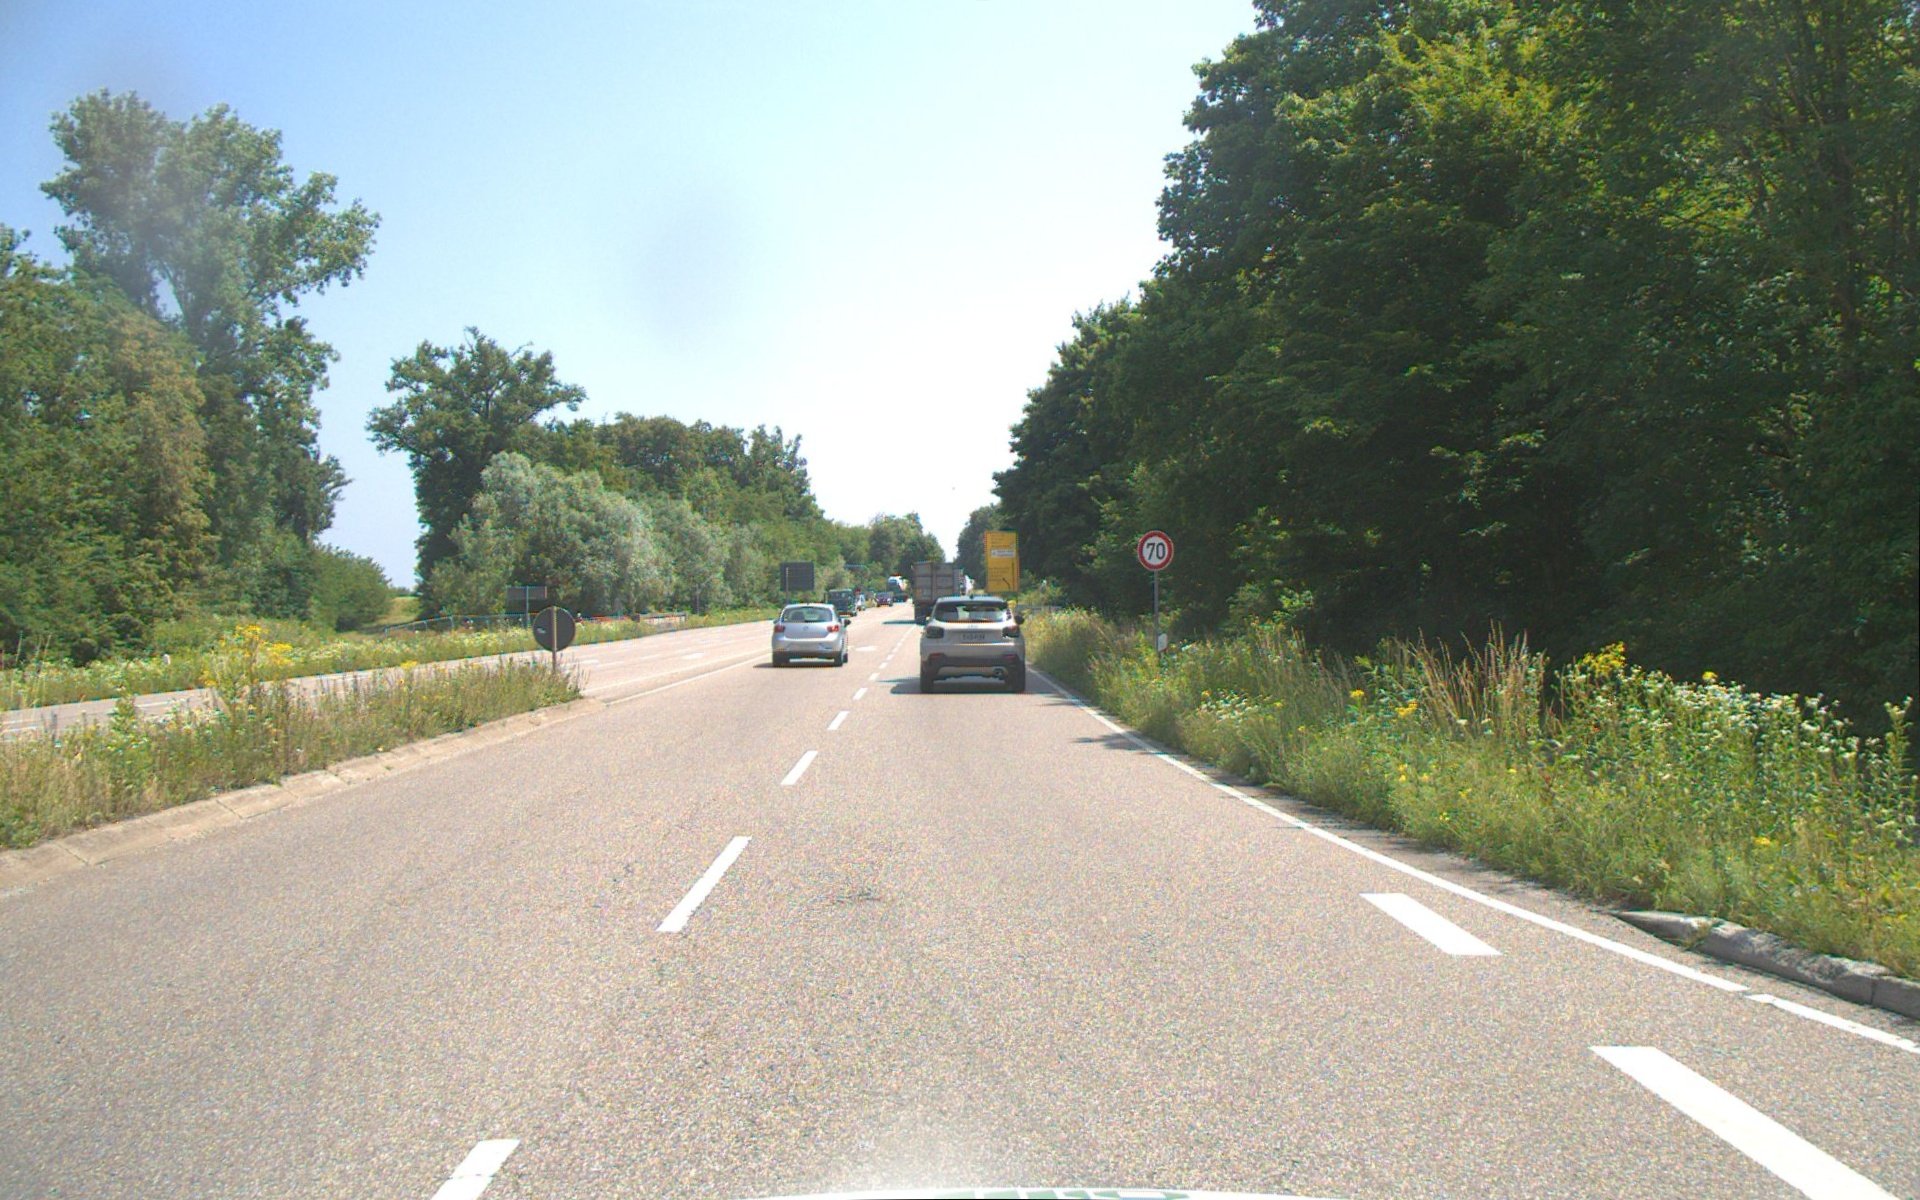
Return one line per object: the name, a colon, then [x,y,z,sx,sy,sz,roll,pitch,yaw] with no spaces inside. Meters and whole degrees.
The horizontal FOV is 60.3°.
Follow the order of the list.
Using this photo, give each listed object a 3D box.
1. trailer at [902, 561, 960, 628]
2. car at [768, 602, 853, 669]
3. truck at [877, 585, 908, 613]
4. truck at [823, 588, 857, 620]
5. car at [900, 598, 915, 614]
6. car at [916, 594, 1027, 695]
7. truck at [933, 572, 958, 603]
trailer: [-1.773,-0.334,106.863,3.313,4.058,10.805,0,0,1]
car: [-3.486,0.804,39.154,1.631,1.455,3.828,0,0,1]
truck: [-10.595,-0.055,259.511,3.580,4.177,9.485,-2,0,-10]
truck: [-10.871,0.320,149.923,2.404,2.702,6.491,-4,0,0]
car: [-7.252,0.860,228.602,1.954,2.049,4.551,-2,0,-2]
car: [0.202,0.705,28.302,1.731,1.561,4.000,-1,0,1]
truck: [-2.025,-1.688,229.184,3.426,4.261,10.782,0,0,-1]
